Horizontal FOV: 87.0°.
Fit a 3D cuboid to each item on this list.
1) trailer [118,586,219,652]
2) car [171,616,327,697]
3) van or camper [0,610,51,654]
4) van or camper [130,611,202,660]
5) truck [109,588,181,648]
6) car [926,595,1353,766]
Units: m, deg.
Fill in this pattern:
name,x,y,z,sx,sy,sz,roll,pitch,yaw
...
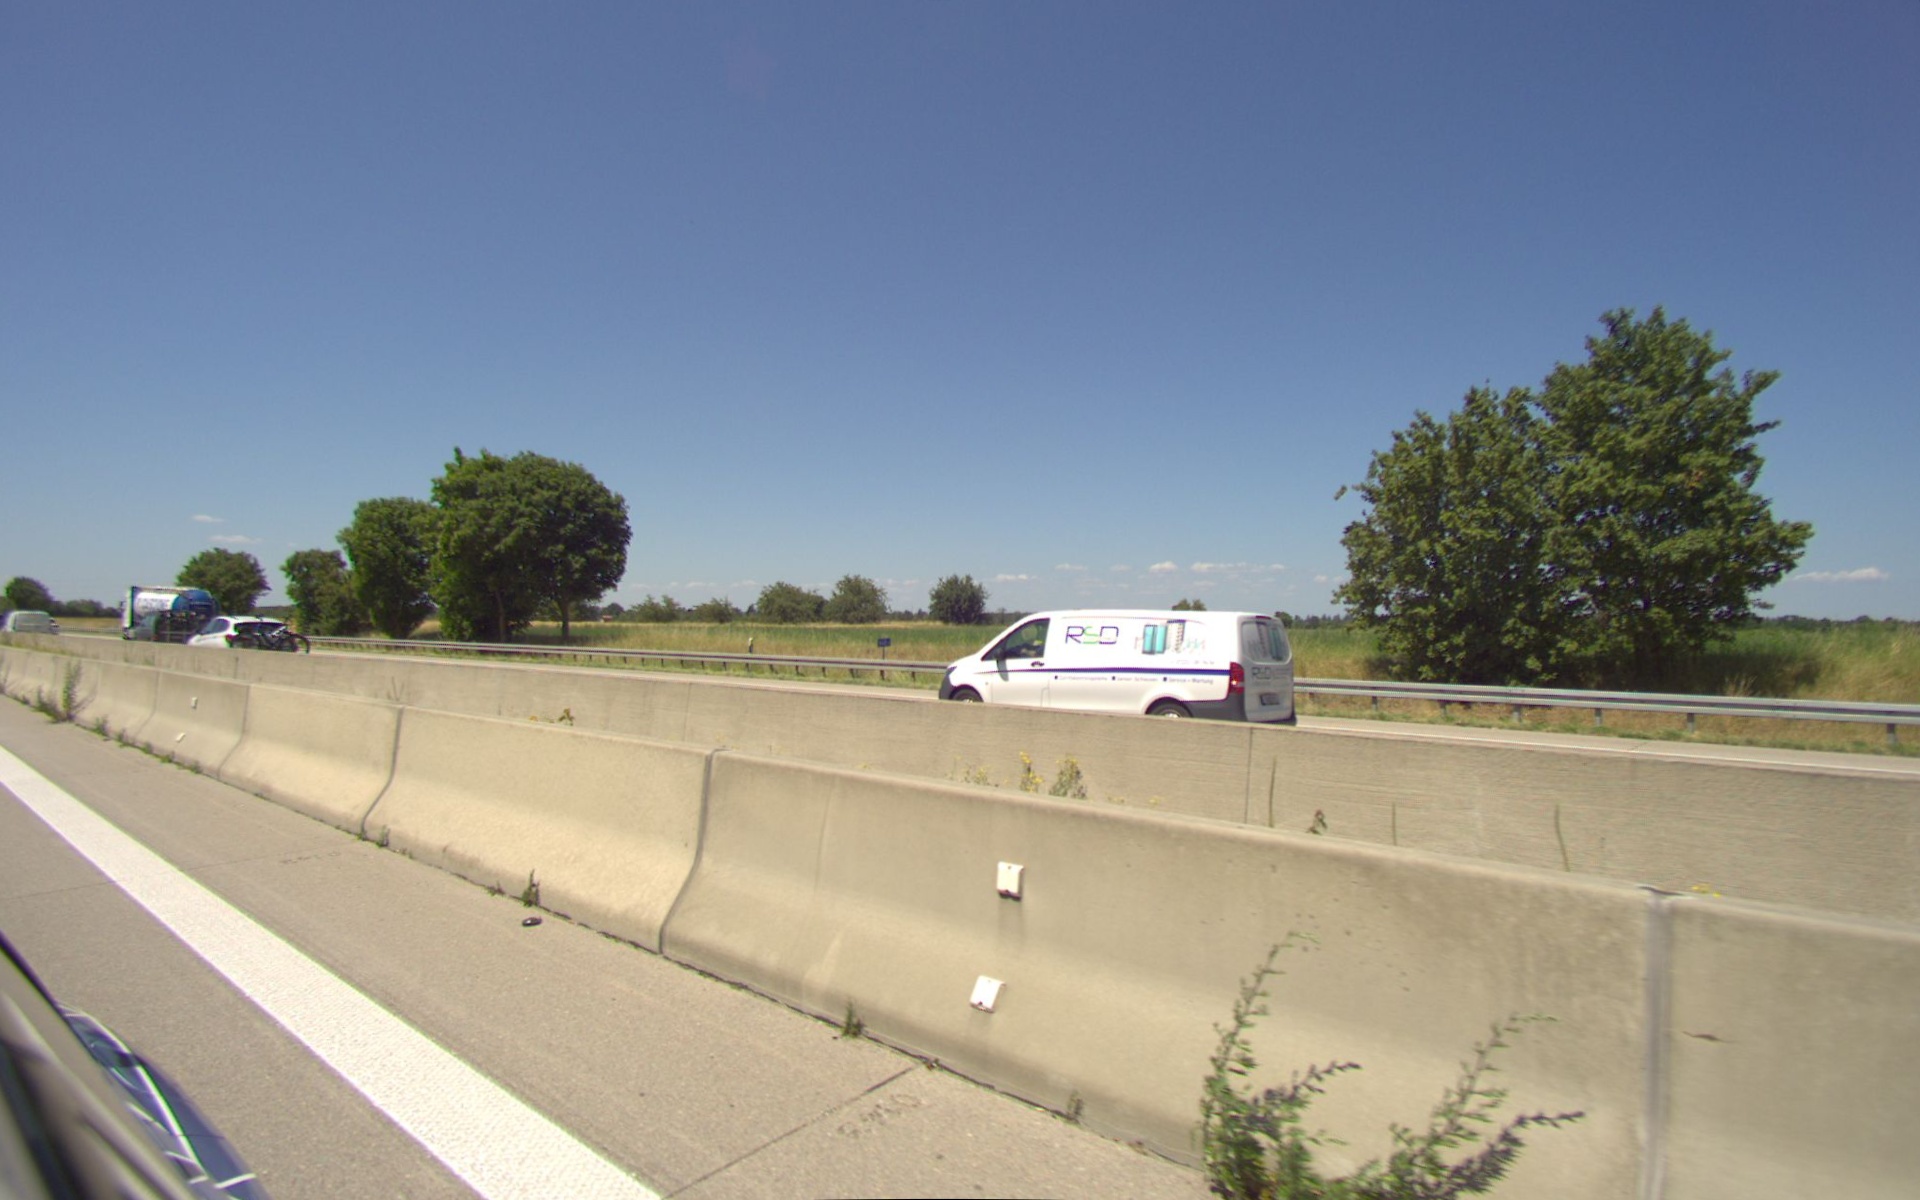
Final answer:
name,x,y,z,sx,sy,sz,roll,pitch,yaw
trailer,-52.512,1.266,66.933,12.997,3.999,2.649,-1,-2,40
car,-20.309,1.491,28.776,5.975,2.029,2.229,-1,0,41
van or camper,-52.422,1.745,56.308,6.466,2.315,1.973,-1,0,41
van or camper,-39.192,1.707,49.899,4.794,2.236,1.917,-1,0,41
truck,-57.111,1.268,70.852,6.615,3.999,2.629,-1,-2,40
car,2.351,0.990,14.445,5.681,1.973,2.229,-1,-2,41
